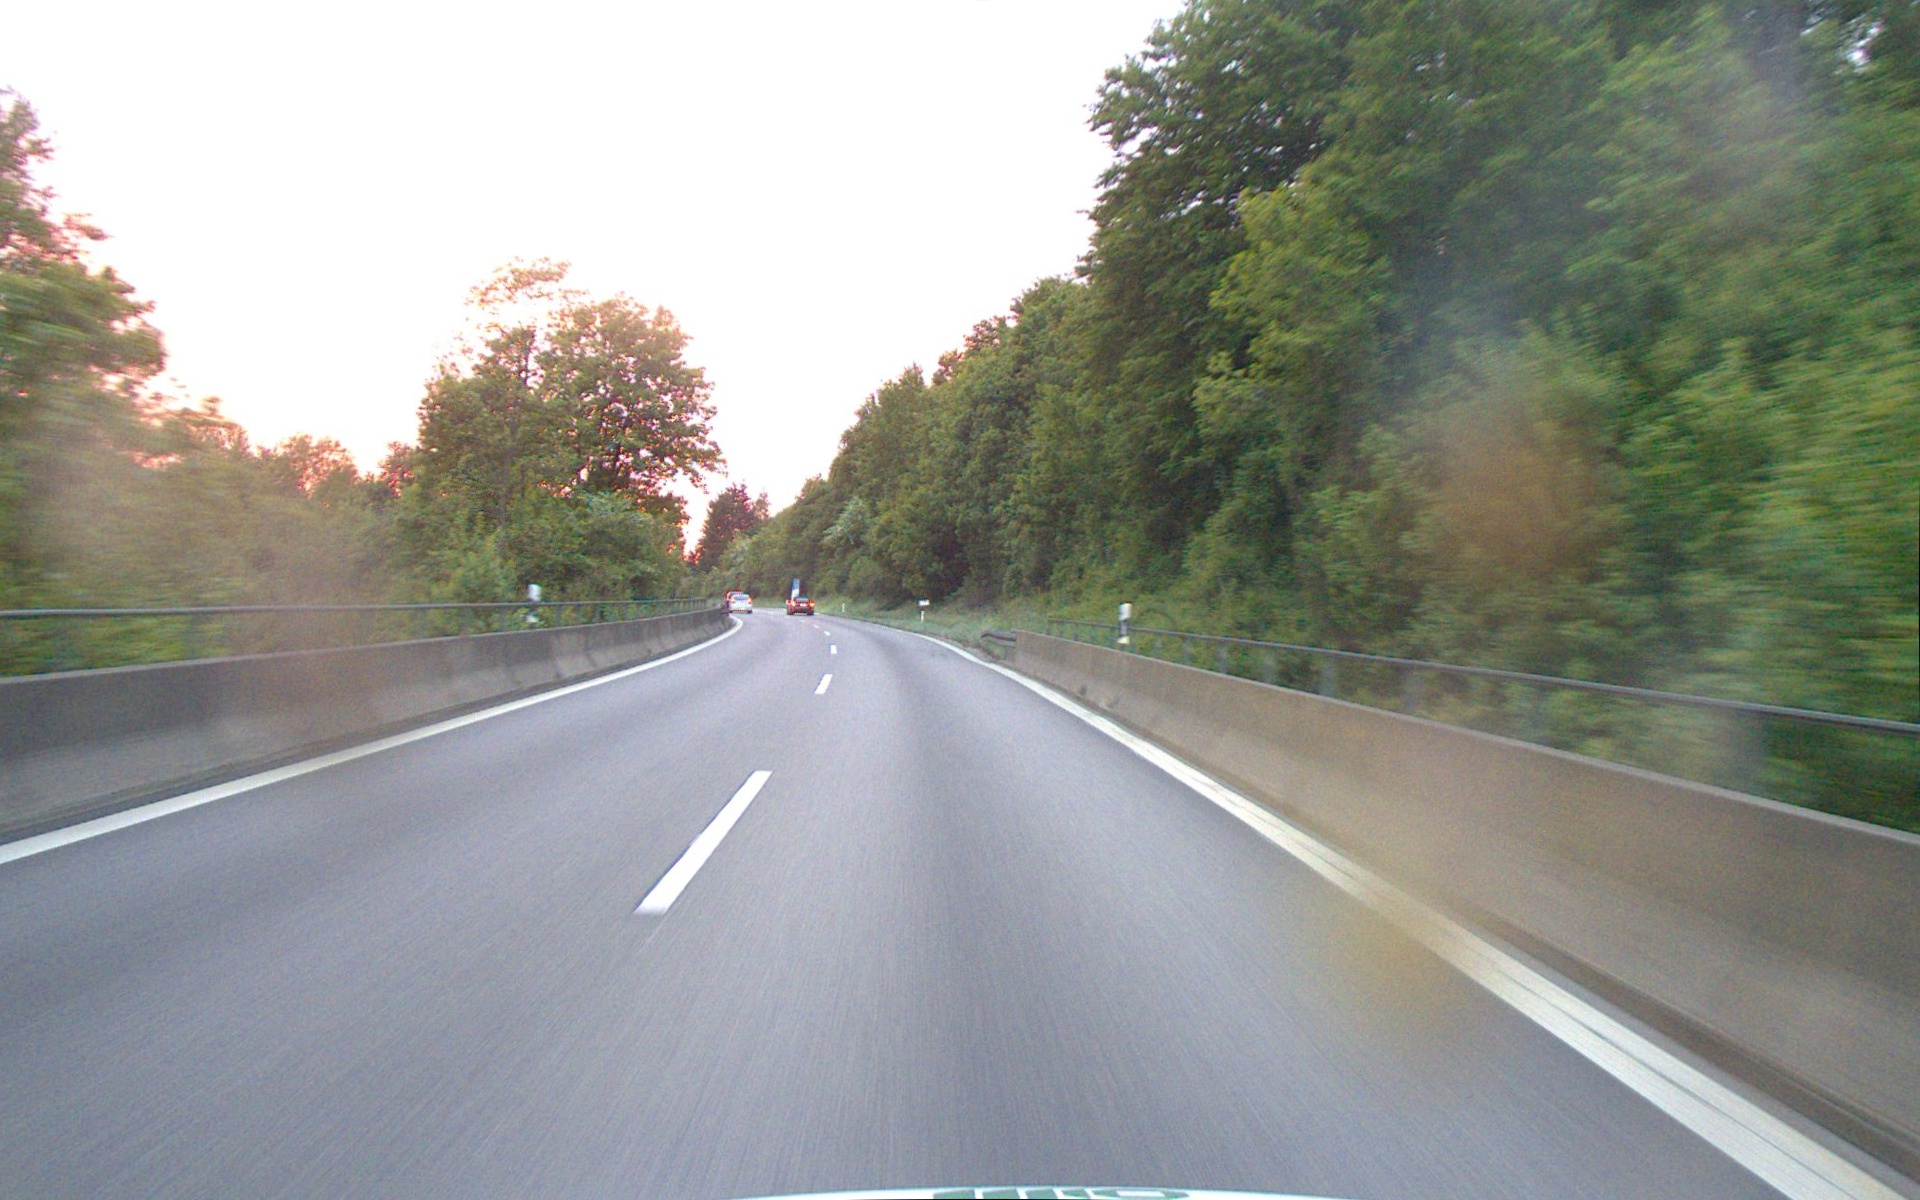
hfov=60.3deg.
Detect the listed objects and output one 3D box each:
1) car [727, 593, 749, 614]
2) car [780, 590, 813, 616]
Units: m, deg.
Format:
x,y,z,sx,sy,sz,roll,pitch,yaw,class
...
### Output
x,y,z,sx,sy,sz,roll,pitch,yaw,class
-17.777,0.288,132.687,1.686,1.528,3.993,3,-2,-7,car
-12.725,0.245,128.647,1.960,1.675,3.984,5,-4,-14,car
